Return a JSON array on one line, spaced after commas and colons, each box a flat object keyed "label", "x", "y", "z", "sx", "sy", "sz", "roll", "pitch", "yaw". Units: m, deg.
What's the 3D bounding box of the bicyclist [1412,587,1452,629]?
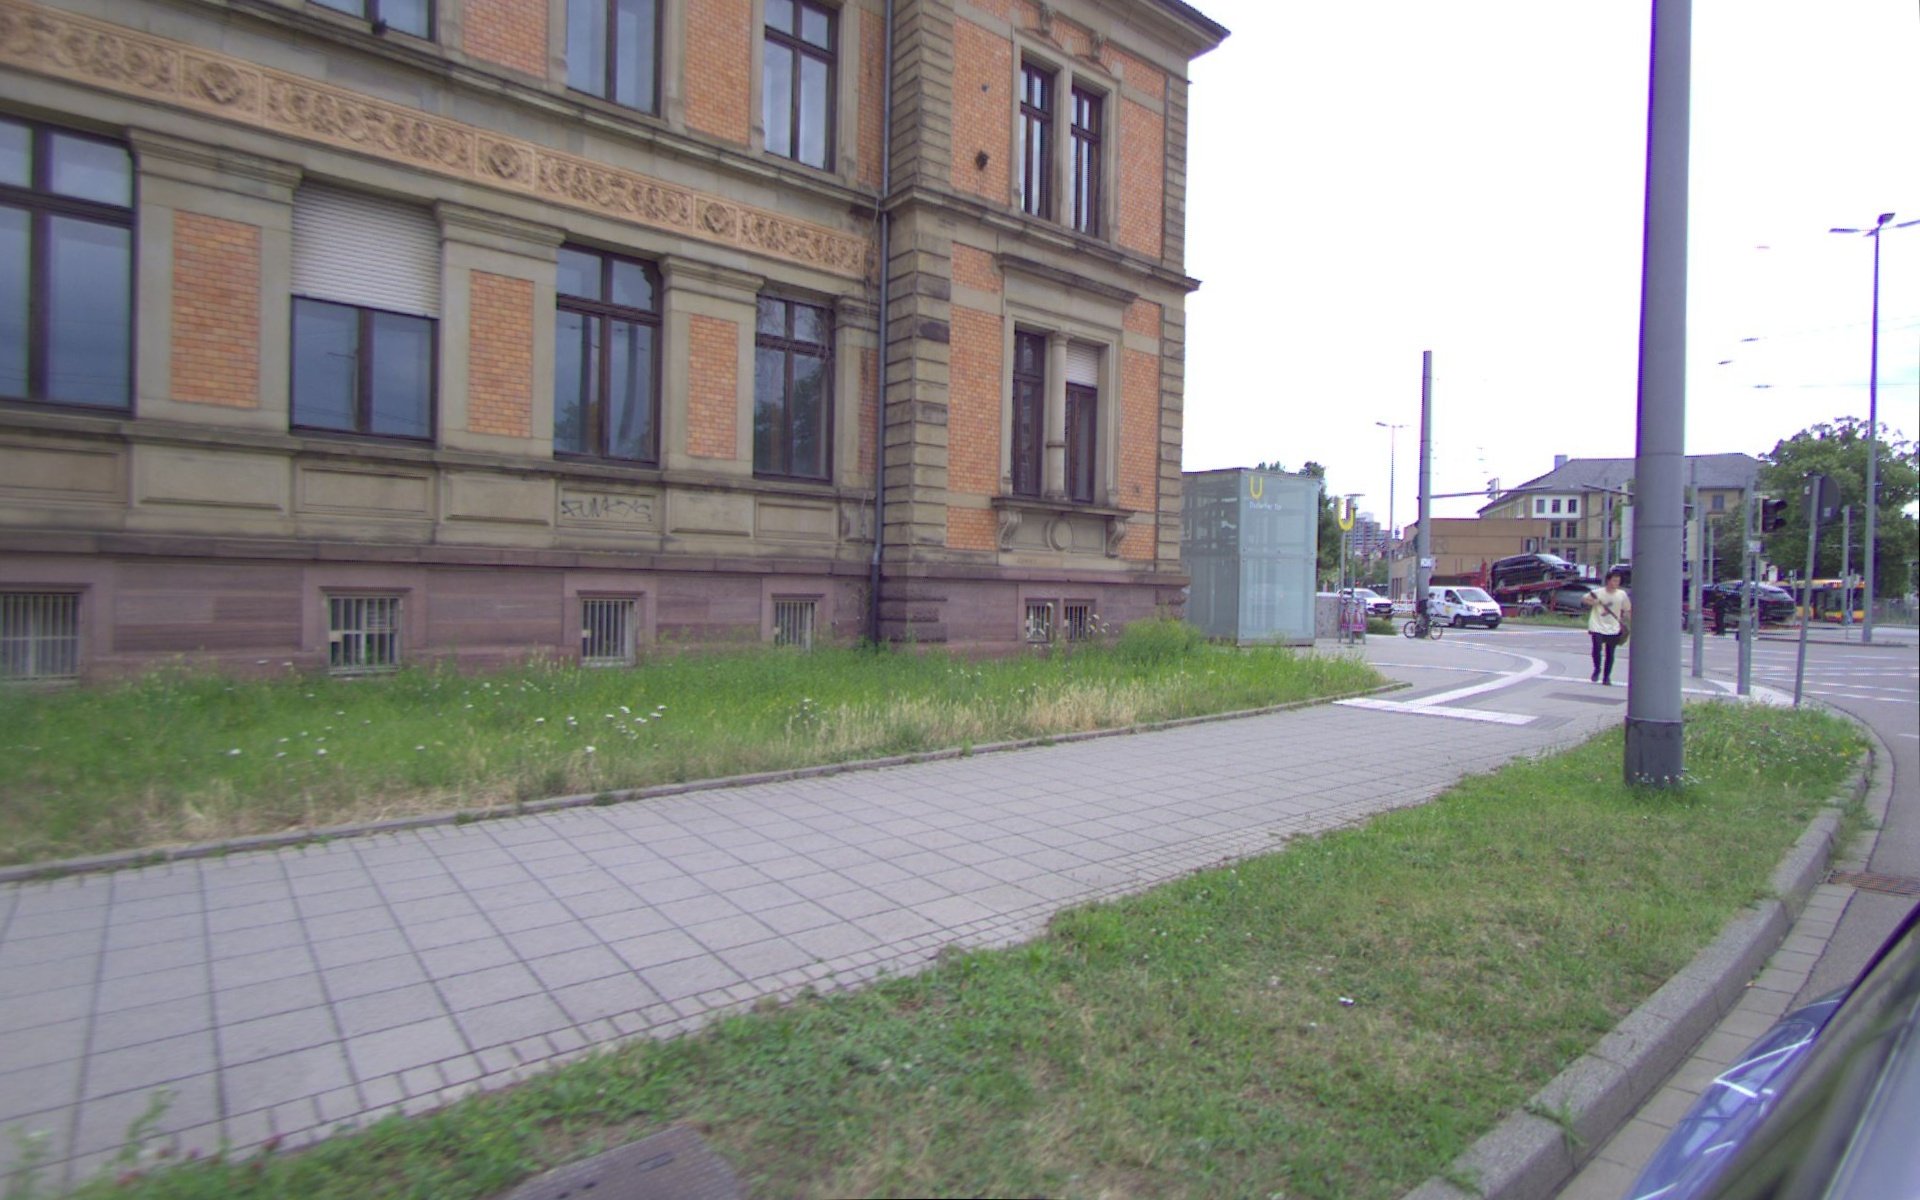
[{"label": "bicyclist", "x": 17.538, "y": 0.284, "z": 37.612, "sx": 1.078, "sy": 1.540, "sz": 0.761, "roll": 1, "pitch": 0, "yaw": -13}]

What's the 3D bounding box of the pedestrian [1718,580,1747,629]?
[{"label": "pedestrian", "x": 31.514, "y": 0.173, "z": 41.313, "sx": 0.774, "sy": 1.967, "sz": 0.972, "roll": 1, "pitch": 0, "yaw": 28}]

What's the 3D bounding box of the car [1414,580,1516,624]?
[{"label": "car", "x": 24.302, "y": 0.059, "z": 48.884, "sx": 1.958, "sy": 1.966, "sz": 4.532, "roll": 1, "pitch": 0, "yaw": -12}]

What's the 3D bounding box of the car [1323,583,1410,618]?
[{"label": "car", "x": 23.001, "y": -0.022, "z": 57.540, "sx": 2.046, "sy": 1.872, "sz": 4.762, "roll": 1, "pitch": 1, "yaw": -17}]

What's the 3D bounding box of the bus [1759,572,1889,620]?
[{"label": "bus", "x": 60.795, "y": -0.332, "z": 71.663, "sx": 2.828, "sy": 3.116, "sz": 11.945, "roll": 0, "pitch": 1, "yaw": 19}]

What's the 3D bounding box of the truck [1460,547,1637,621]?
[{"label": "truck", "x": 34.512, "y": -0.951, "z": 60.036, "sx": 2.953, "sy": 3.969, "sz": 10.475, "roll": 0, "pitch": 1, "yaw": -10}]

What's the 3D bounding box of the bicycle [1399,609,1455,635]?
[{"label": "bicycle", "x": 17.366, "y": 0.809, "z": 37.646, "sx": 1.788, "sy": 0.850, "sz": 0.769, "roll": 3, "pitch": 0, "yaw": -13}]

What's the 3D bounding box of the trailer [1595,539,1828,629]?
[{"label": "trailer", "x": 36.771, "y": -0.787, "z": 50.181, "sx": 2.934, "sy": 4.023, "sz": 9.574, "roll": 0, "pitch": 1, "yaw": -14}]

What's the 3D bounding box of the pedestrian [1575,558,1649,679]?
[{"label": "pedestrian", "x": 10.711, "y": 0.283, "z": 16.674, "sx": 0.879, "sy": 1.891, "sz": 1.274, "roll": 1, "pitch": 0, "yaw": 28}]
